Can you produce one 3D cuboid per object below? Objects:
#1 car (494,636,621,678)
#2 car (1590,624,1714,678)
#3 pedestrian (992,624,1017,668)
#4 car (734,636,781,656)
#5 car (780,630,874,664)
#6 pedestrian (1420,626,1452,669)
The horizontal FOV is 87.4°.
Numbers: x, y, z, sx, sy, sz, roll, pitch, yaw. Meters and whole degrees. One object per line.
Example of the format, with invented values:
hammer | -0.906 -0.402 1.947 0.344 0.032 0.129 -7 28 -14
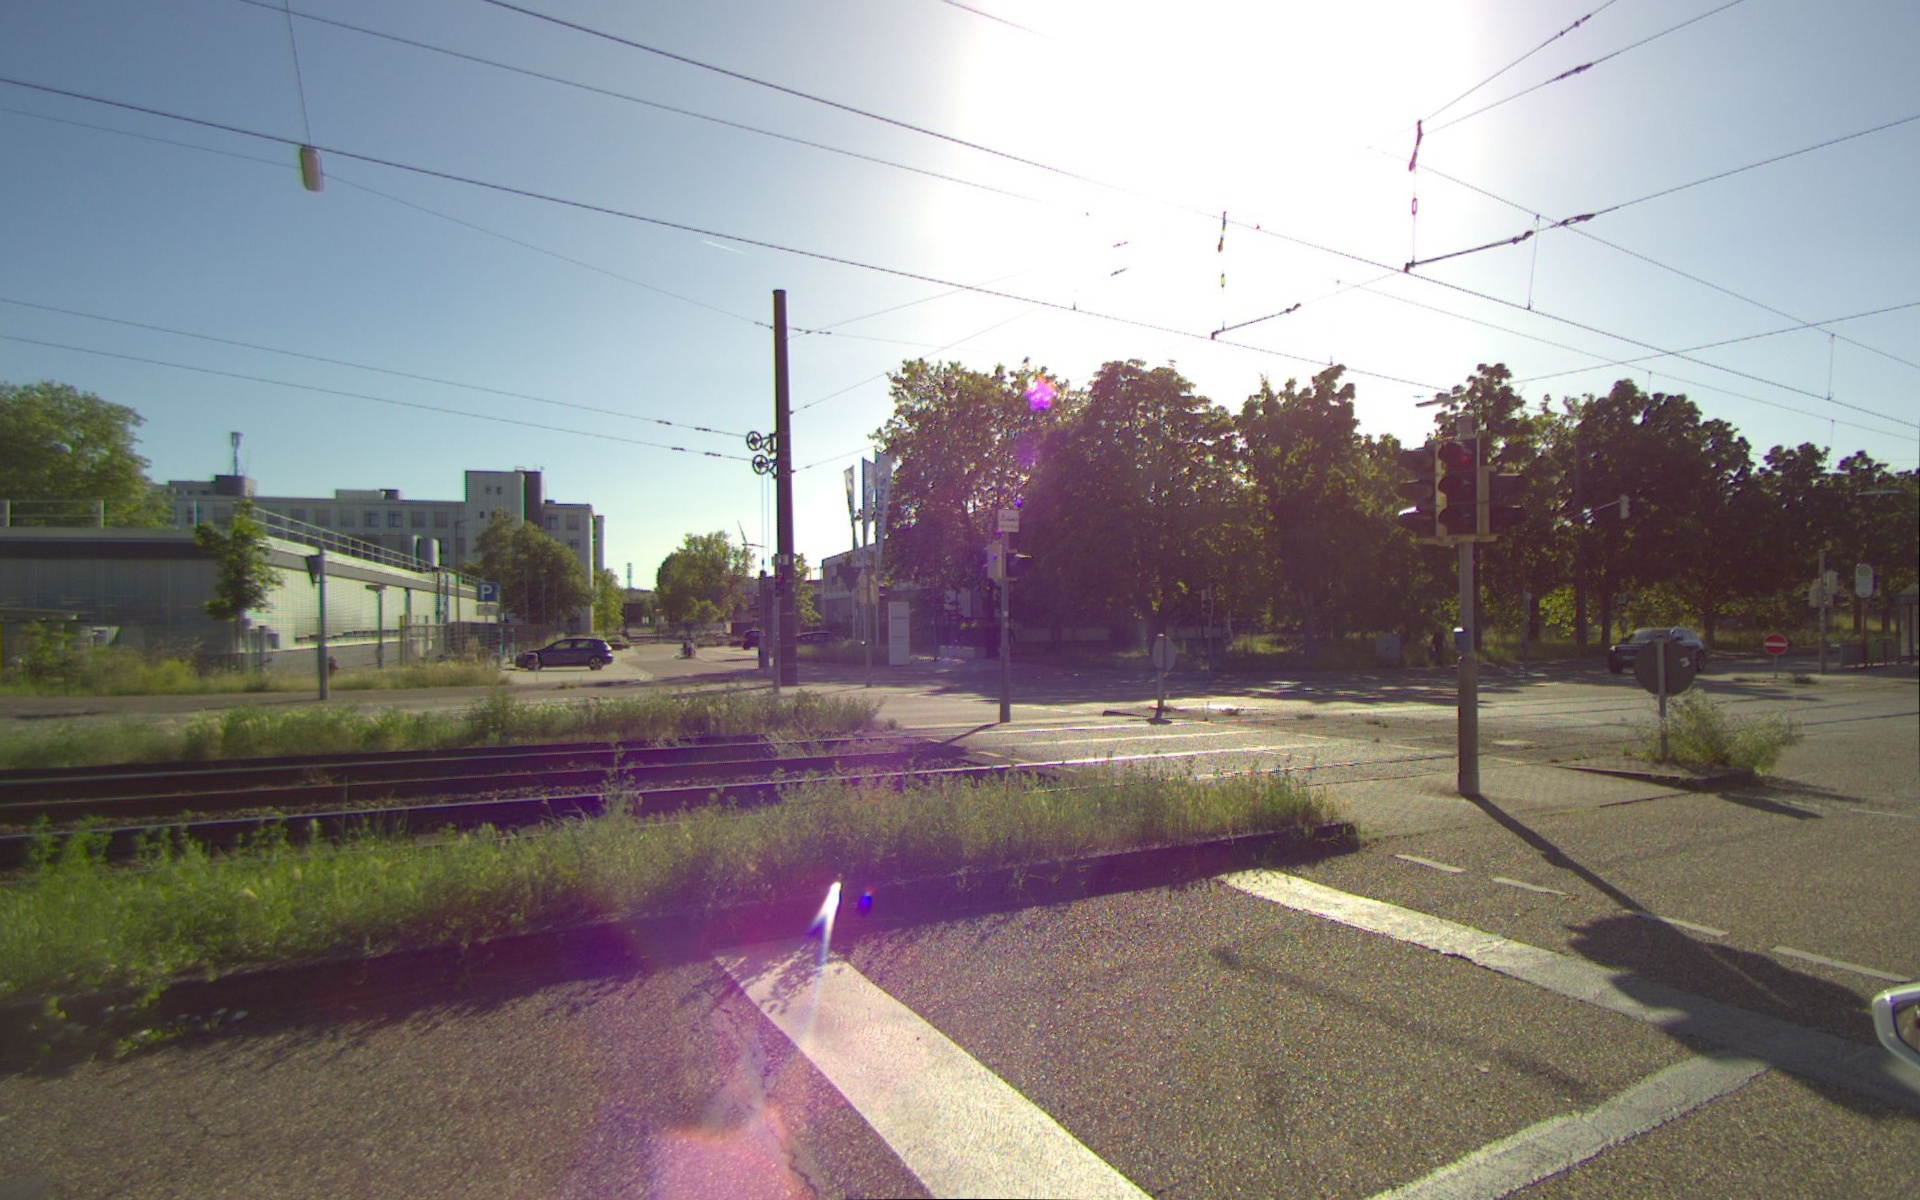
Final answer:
car | -18.205 2.584 45.727 5.210 1.772 2.164 1 -1 -19
car | 25.793 1.882 37.427 4.740 1.833 2.082 0 -3 -33
pedestrian | 1.873 1.924 42.346 0.807 1.811 0.950 0 -1 -16
car | -16.794 3.801 83.394 3.566 1.611 1.792 1 -1 -23
car | -7.362 2.597 55.565 4.768 1.751 2.041 1 -1 -22
pedestrian | 19.885 1.974 41.962 0.919 1.757 0.761 0 -1 -2
